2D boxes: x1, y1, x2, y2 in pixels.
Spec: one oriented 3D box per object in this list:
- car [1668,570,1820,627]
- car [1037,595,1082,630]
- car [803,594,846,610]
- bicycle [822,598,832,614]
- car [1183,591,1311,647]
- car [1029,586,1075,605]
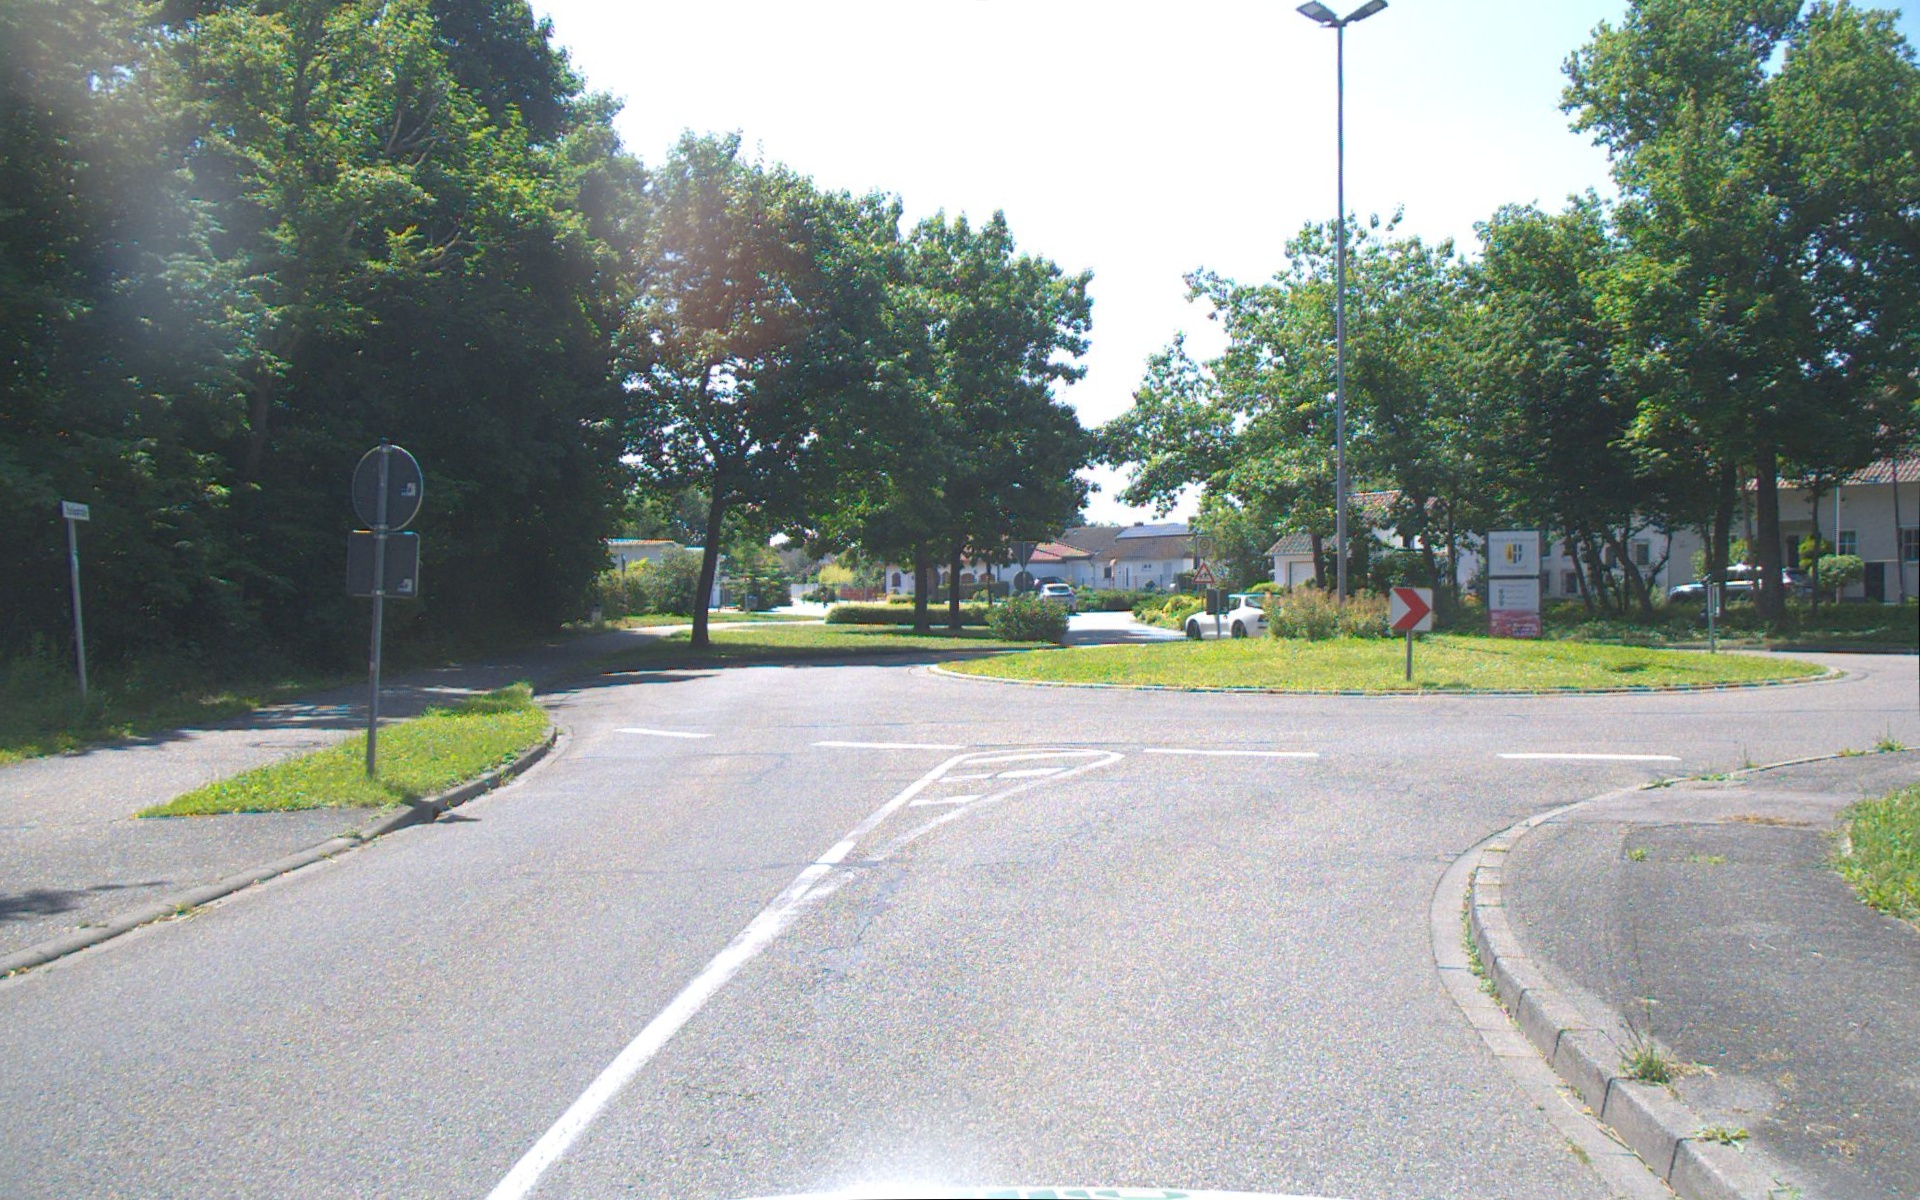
[{"bbox_3d":[24.726,-0.048,52.276,1.648,1.735,4.089,0,0,-37],"label":"car"},{"bbox_3d":[4.596,0.557,77.080,1.596,1.512,3.997,-1,1,-4],"label":"car"},{"bbox_3d":[-11.604,0.176,141.529,1.976,1.310,3.953,-1,0,-33],"label":"car"},{"bbox_3d":[-8.204,0.349,101.865,0.585,0.945,1.619,-1,0,-5],"label":"bicycle"},{"bbox_3d":[7.062,0.438,41.045,1.591,1.311,3.535,-1,0,-20],"label":"car"},{"bbox_3d":[7.560,-0.369,135.916,1.822,1.569,3.812,-1,0,43],"label":"car"}]
